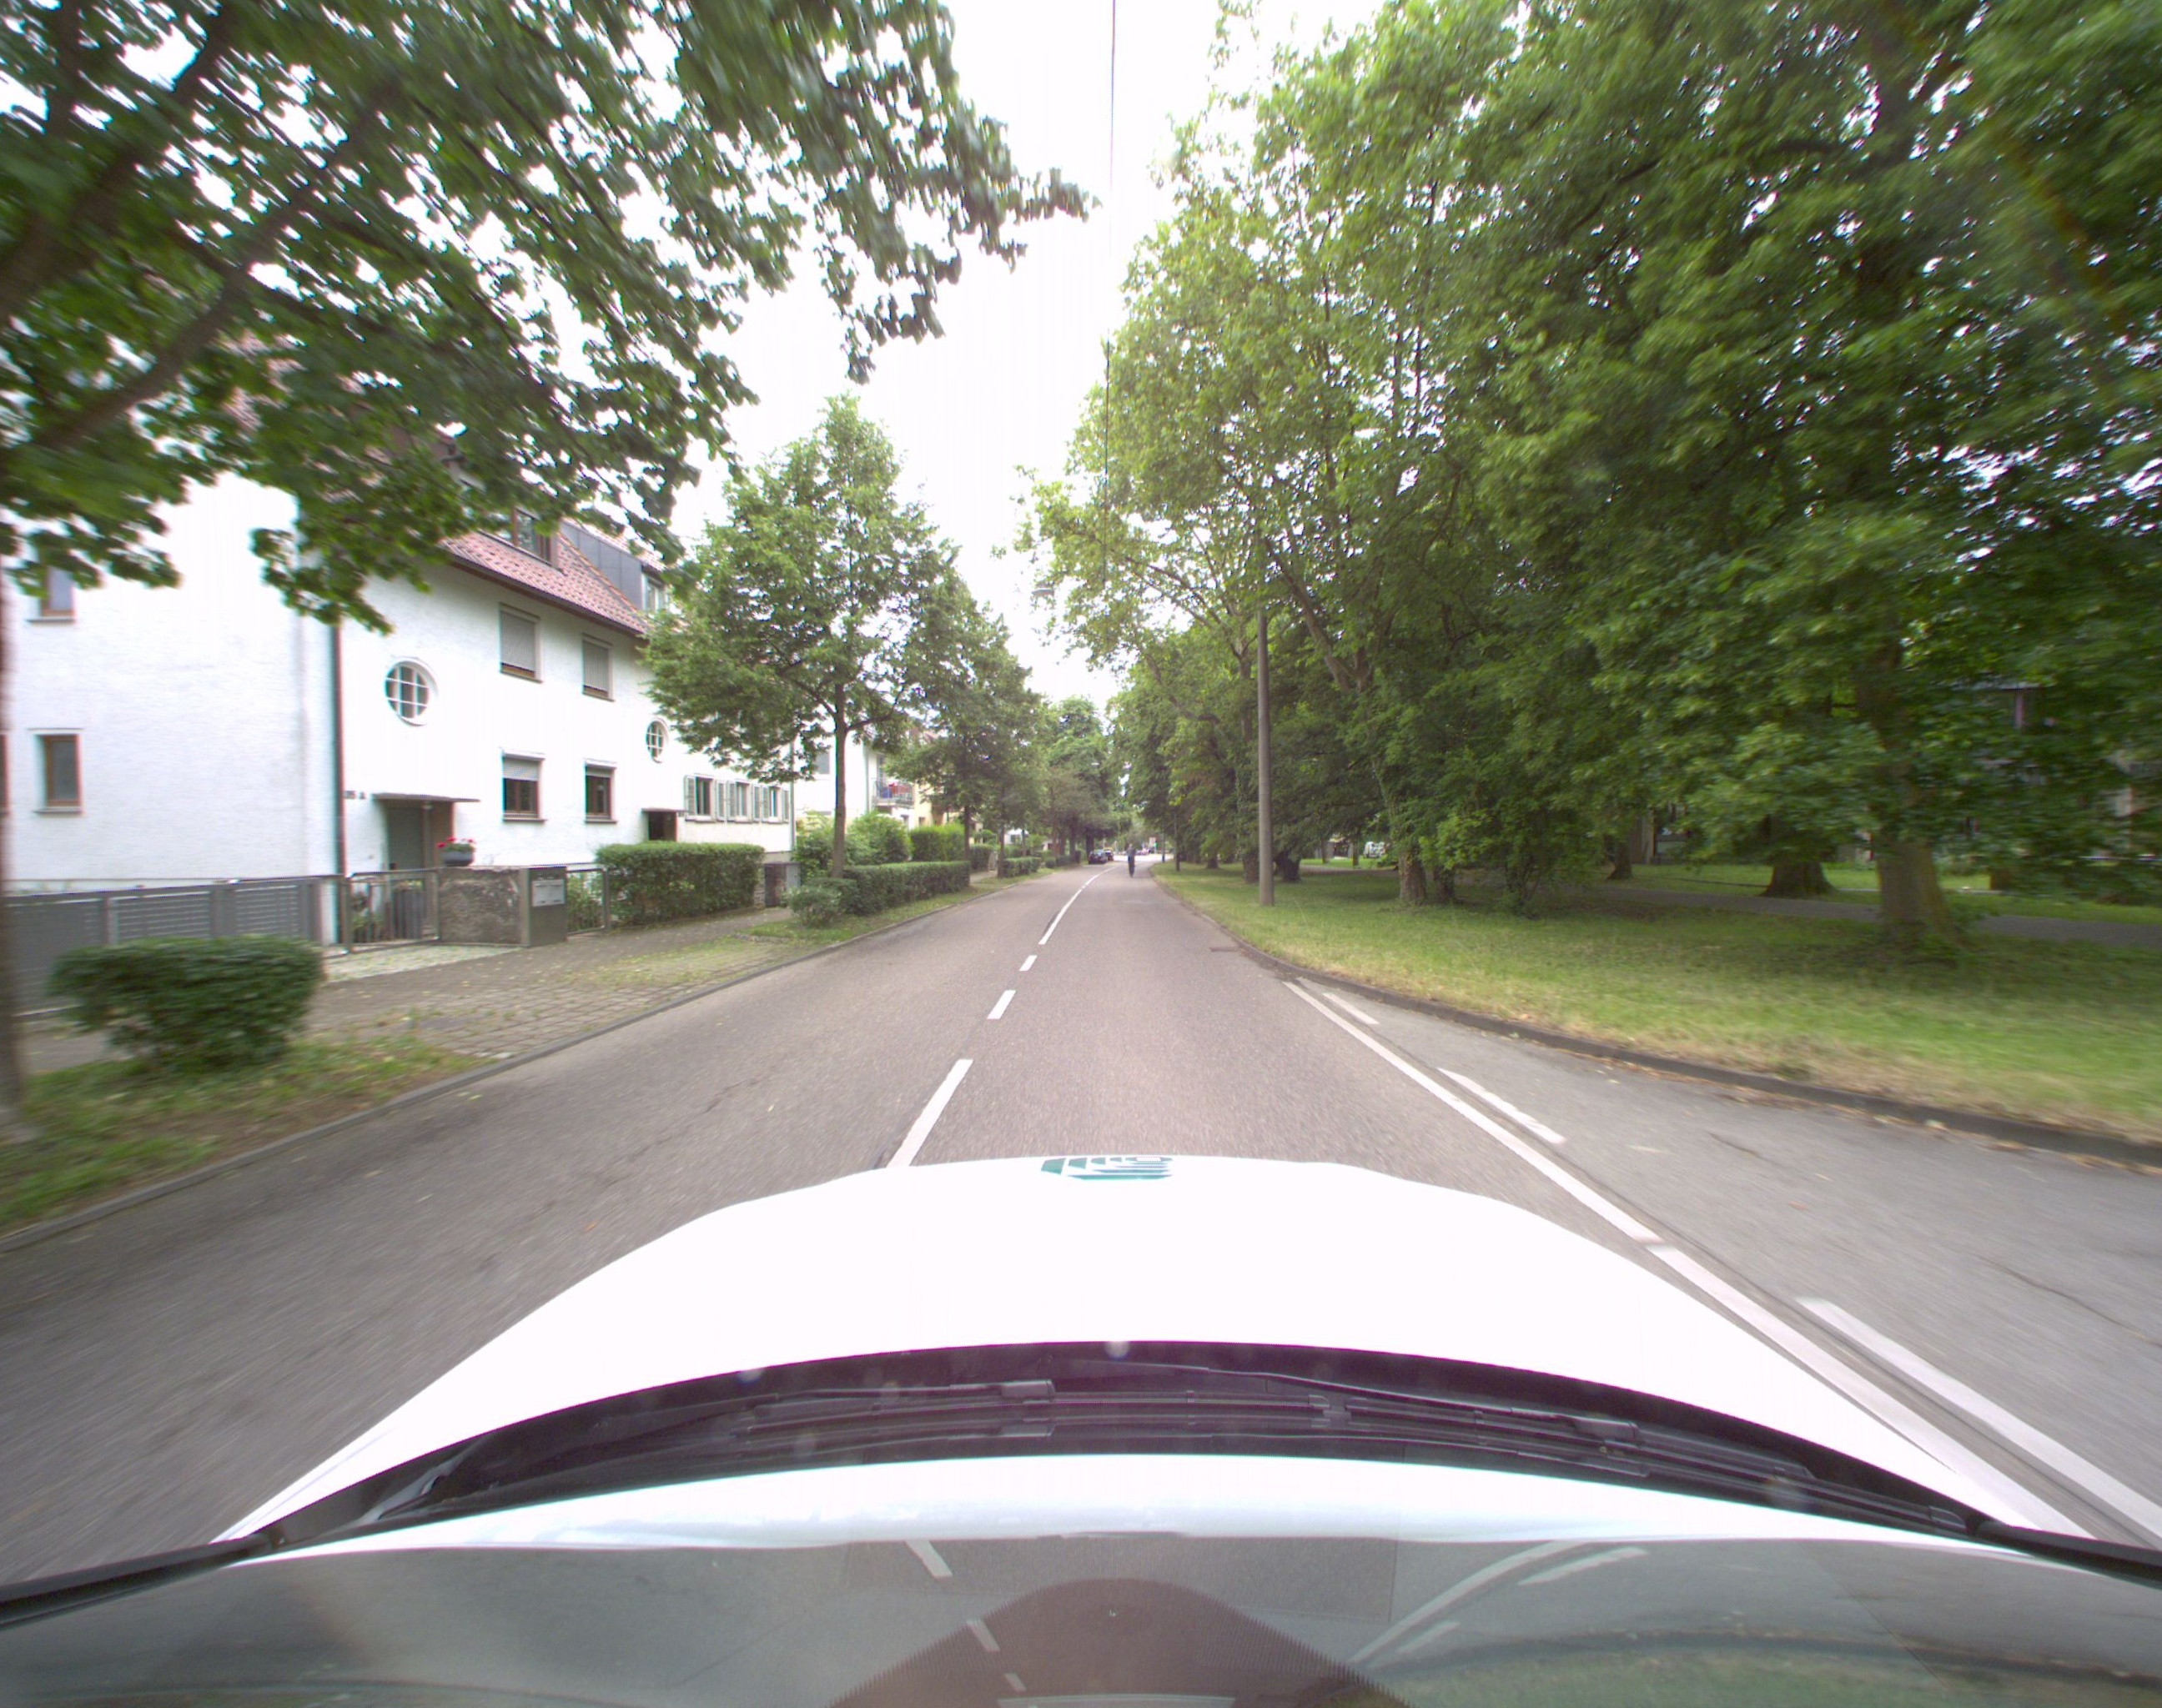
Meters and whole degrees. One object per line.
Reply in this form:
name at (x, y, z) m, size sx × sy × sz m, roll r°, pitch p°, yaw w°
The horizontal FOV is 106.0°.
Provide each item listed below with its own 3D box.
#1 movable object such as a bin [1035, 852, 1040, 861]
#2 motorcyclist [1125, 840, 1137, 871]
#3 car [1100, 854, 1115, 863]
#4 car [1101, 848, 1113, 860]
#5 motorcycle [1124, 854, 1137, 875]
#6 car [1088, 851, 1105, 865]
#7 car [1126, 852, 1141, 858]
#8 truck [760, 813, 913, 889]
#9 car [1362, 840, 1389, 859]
movable object such as a bin at (-4.479, 0.284, 83.863) m, size 0.454 × 0.915 × 0.508 m, roll -1°, pitch 0°, yaw -2°
motorcyclist at (2.900, 0.100, 46.985) m, size 0.669 × 1.761 × 0.640 m, roll 1°, pitch 0°, yaw 6°
car at (4.044, 0.692, 123.440) m, size 1.883 × 1.410 × 4.560 m, roll -1°, pitch -1°, yaw 5°
car at (4.303, -0.023, 134.296) m, size 1.852 × 1.964 × 4.502 m, roll -1°, pitch -1°, yaw -1°
motorcycle at (2.873, 0.603, 46.786) m, size 0.669 × 1.217 × 1.276 m, roll 1°, pitch 0°, yaw 6°
car at (1.751, 0.441, 92.177) m, size 1.787 × 1.472 × 4.421 m, roll -1°, pitch 0°, yaw 2°
car at (13.931, 0.201, 216.691) m, size 3.972 × 1.510 × 1.801 m, roll -1°, pitch 0°, yaw 2°
truck at (-10.417, -0.141, 35.120) m, size 5.775 × 3.131 × 2.519 m, roll 0°, pitch 0°, yaw 1°
car at (31.524, -0.497, 87.257) m, size 2.071 × 1.842 × 4.986 m, roll -2°, pitch 1°, yaw 13°
